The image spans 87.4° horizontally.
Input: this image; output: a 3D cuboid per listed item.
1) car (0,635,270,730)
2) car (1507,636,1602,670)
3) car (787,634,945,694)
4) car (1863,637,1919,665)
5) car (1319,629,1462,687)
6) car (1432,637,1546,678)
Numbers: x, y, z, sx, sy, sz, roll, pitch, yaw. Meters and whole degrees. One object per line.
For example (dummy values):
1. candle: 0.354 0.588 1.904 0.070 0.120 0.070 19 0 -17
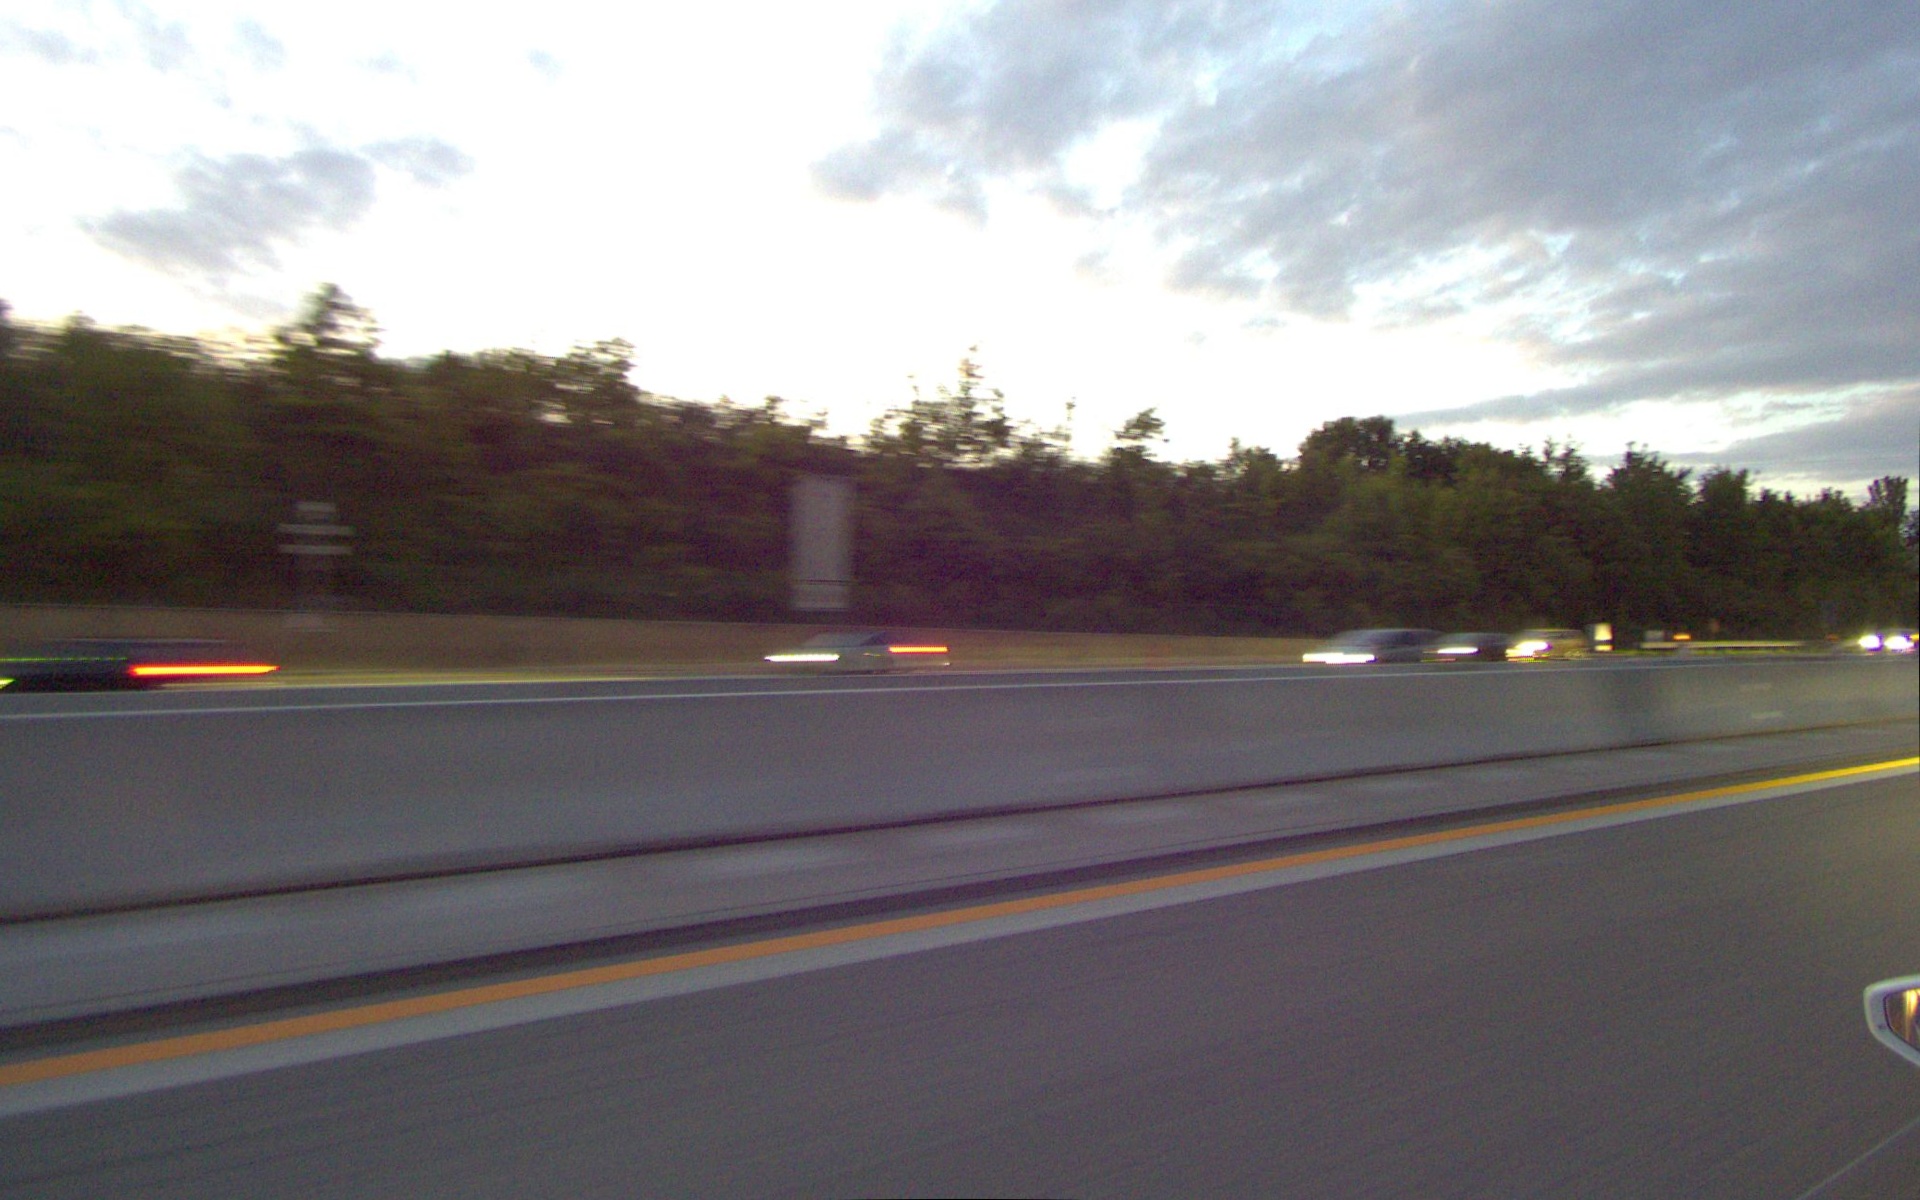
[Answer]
1. car: -15.140 1.419 17.785 4.613 1.474 1.743 2 0 -29
2. car: 28.692 2.542 48.475 4.643 1.505 1.818 2 0 -29
3. car: -2.635 1.794 28.471 4.127 1.527 1.657 2 0 -29
4. car: 60.229 3.276 64.522 4.692 1.660 1.797 2 0 -28
5. car: 14.596 1.941 33.993 4.748 1.761 1.893 2 0 -29
6. car: 21.480 2.316 40.725 4.643 1.505 1.803 2 0 -29
